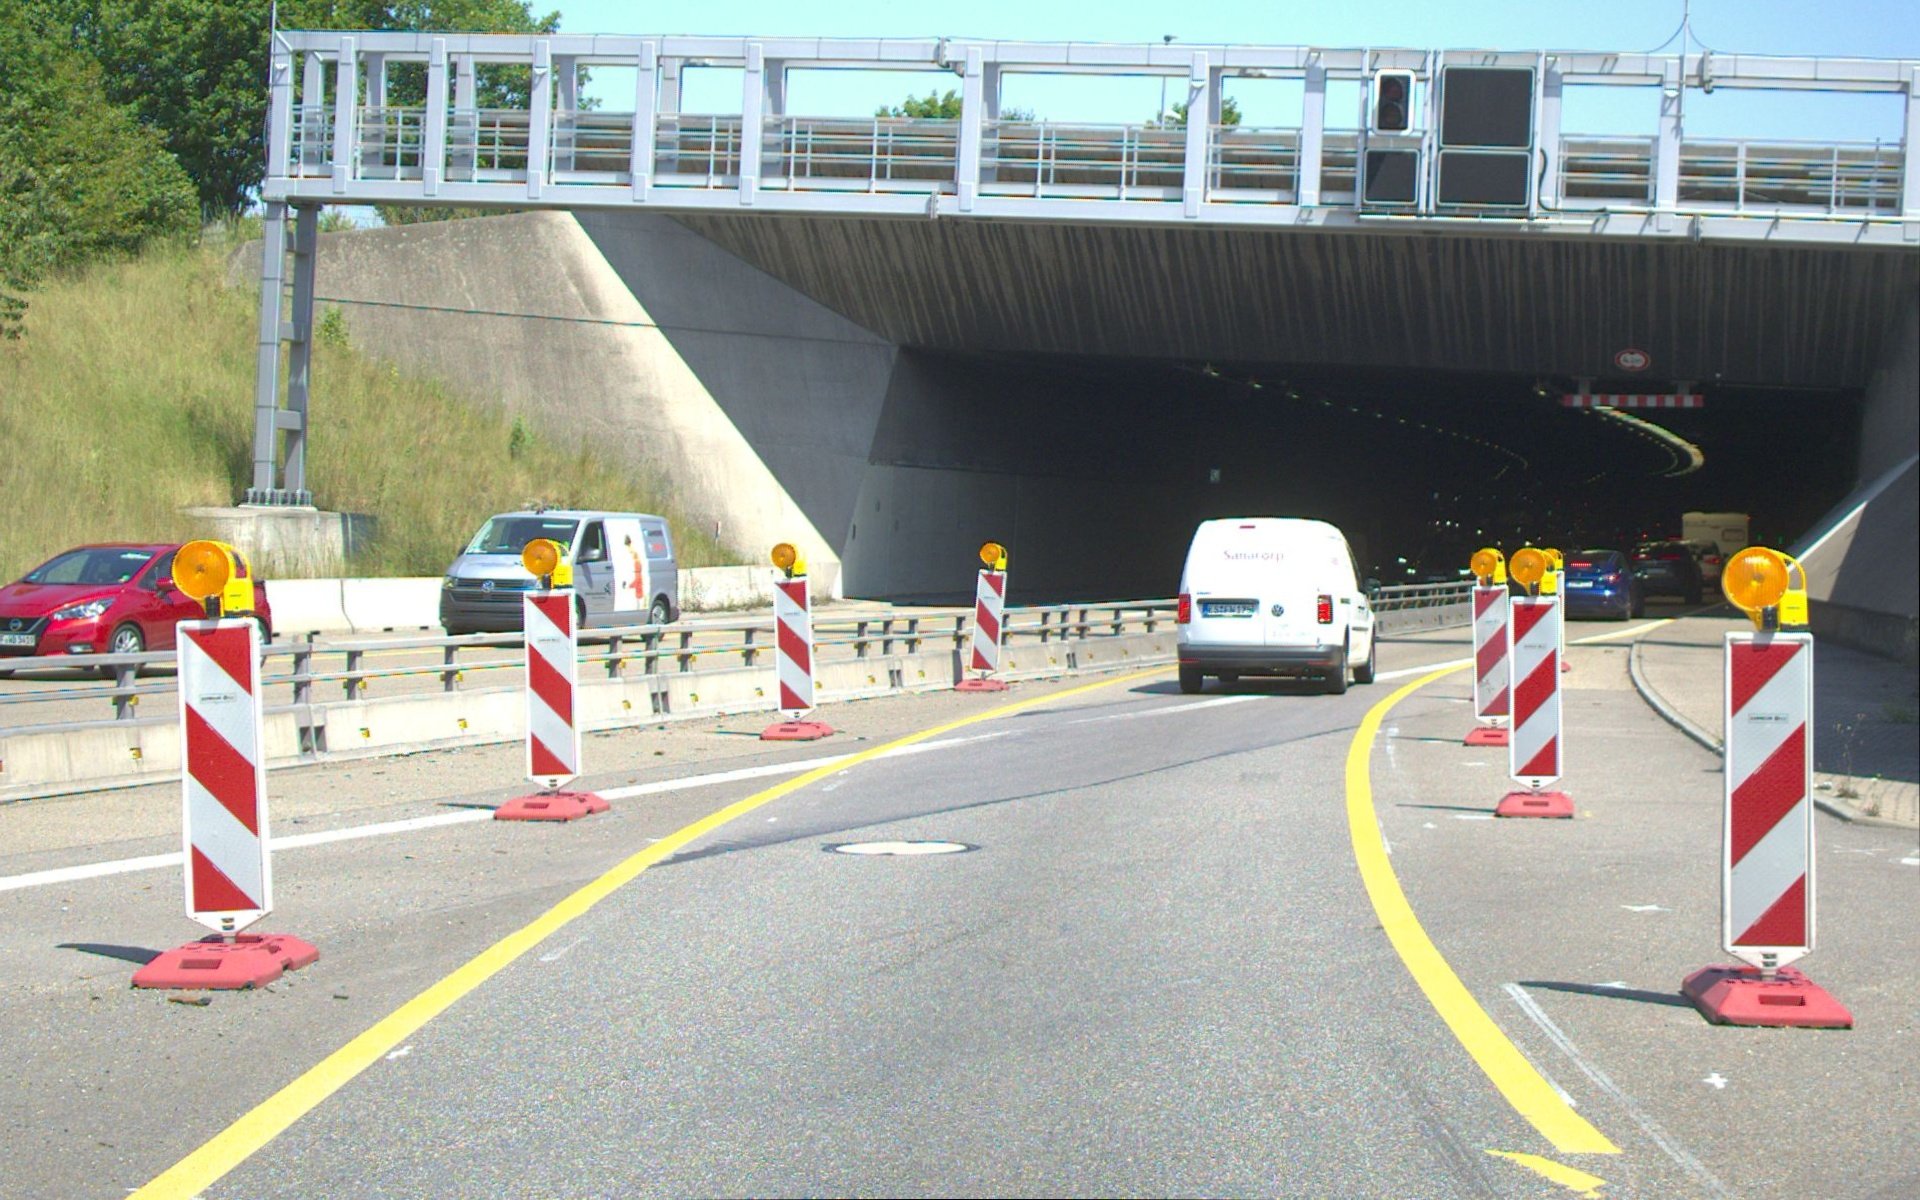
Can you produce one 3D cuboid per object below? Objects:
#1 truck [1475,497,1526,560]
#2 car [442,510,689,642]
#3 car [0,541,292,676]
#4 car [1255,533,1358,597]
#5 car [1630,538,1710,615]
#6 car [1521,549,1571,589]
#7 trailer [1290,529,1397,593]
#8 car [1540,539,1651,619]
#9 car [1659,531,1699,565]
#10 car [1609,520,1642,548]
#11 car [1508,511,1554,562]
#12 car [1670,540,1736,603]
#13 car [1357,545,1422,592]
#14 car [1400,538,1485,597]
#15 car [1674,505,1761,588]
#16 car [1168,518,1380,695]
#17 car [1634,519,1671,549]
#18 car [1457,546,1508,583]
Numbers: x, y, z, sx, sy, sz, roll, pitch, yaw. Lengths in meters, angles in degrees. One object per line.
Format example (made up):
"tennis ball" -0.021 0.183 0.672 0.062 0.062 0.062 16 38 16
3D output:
"truck" 34.393 -4.519 218.466 2.812 3.902 6.452 1 1 12
"car" -5.681 -0.332 50.121 1.689 1.828 4.783 0 0 19
"car" -9.104 0.082 37.482 1.689 1.390 3.995 1 0 22
"car" 9.556 -0.989 94.561 1.775 1.721 4.863 1 1 19
"car" 17.870 -0.596 86.428 1.809 1.809 4.407 3 1 13
"car" 23.804 -1.261 139.615 1.774 1.572 4.444 0 1 13
"trailer" 11.115 -1.151 99.430 1.948 1.799 5.518 1 1 19
"car" 13.118 -0.438 70.825 1.810 1.532 4.406 3 1 15
"car" 43.446 -3.165 207.689 1.940 2.014 4.661 1 1 7
"car" 49.137 -4.868 253.855 2.073 2.014 4.661 1 1 7
"car" 28.791 -3.211 173.316 1.994 2.506 6.039 0 1 12
"car" 22.127 -0.857 102.349 1.809 1.745 4.407 3 1 13
"car" 15.645 -1.171 125.027 1.775 1.661 4.804 0 1 14
"car" 13.492 -0.927 95.942 1.775 1.588 4.982 1 1 15
"car" 27.143 -1.857 122.968 2.815 2.764 7.096 0 -1 14
"car" 3.417 0.042 36.880 1.809 1.788 3.729 1 1 12
"car" 47.116 -4.478 233.954 2.073 2.014 4.661 1 1 7
"car" 22.535 -1.539 148.246 1.775 1.510 4.561 0 1 14
